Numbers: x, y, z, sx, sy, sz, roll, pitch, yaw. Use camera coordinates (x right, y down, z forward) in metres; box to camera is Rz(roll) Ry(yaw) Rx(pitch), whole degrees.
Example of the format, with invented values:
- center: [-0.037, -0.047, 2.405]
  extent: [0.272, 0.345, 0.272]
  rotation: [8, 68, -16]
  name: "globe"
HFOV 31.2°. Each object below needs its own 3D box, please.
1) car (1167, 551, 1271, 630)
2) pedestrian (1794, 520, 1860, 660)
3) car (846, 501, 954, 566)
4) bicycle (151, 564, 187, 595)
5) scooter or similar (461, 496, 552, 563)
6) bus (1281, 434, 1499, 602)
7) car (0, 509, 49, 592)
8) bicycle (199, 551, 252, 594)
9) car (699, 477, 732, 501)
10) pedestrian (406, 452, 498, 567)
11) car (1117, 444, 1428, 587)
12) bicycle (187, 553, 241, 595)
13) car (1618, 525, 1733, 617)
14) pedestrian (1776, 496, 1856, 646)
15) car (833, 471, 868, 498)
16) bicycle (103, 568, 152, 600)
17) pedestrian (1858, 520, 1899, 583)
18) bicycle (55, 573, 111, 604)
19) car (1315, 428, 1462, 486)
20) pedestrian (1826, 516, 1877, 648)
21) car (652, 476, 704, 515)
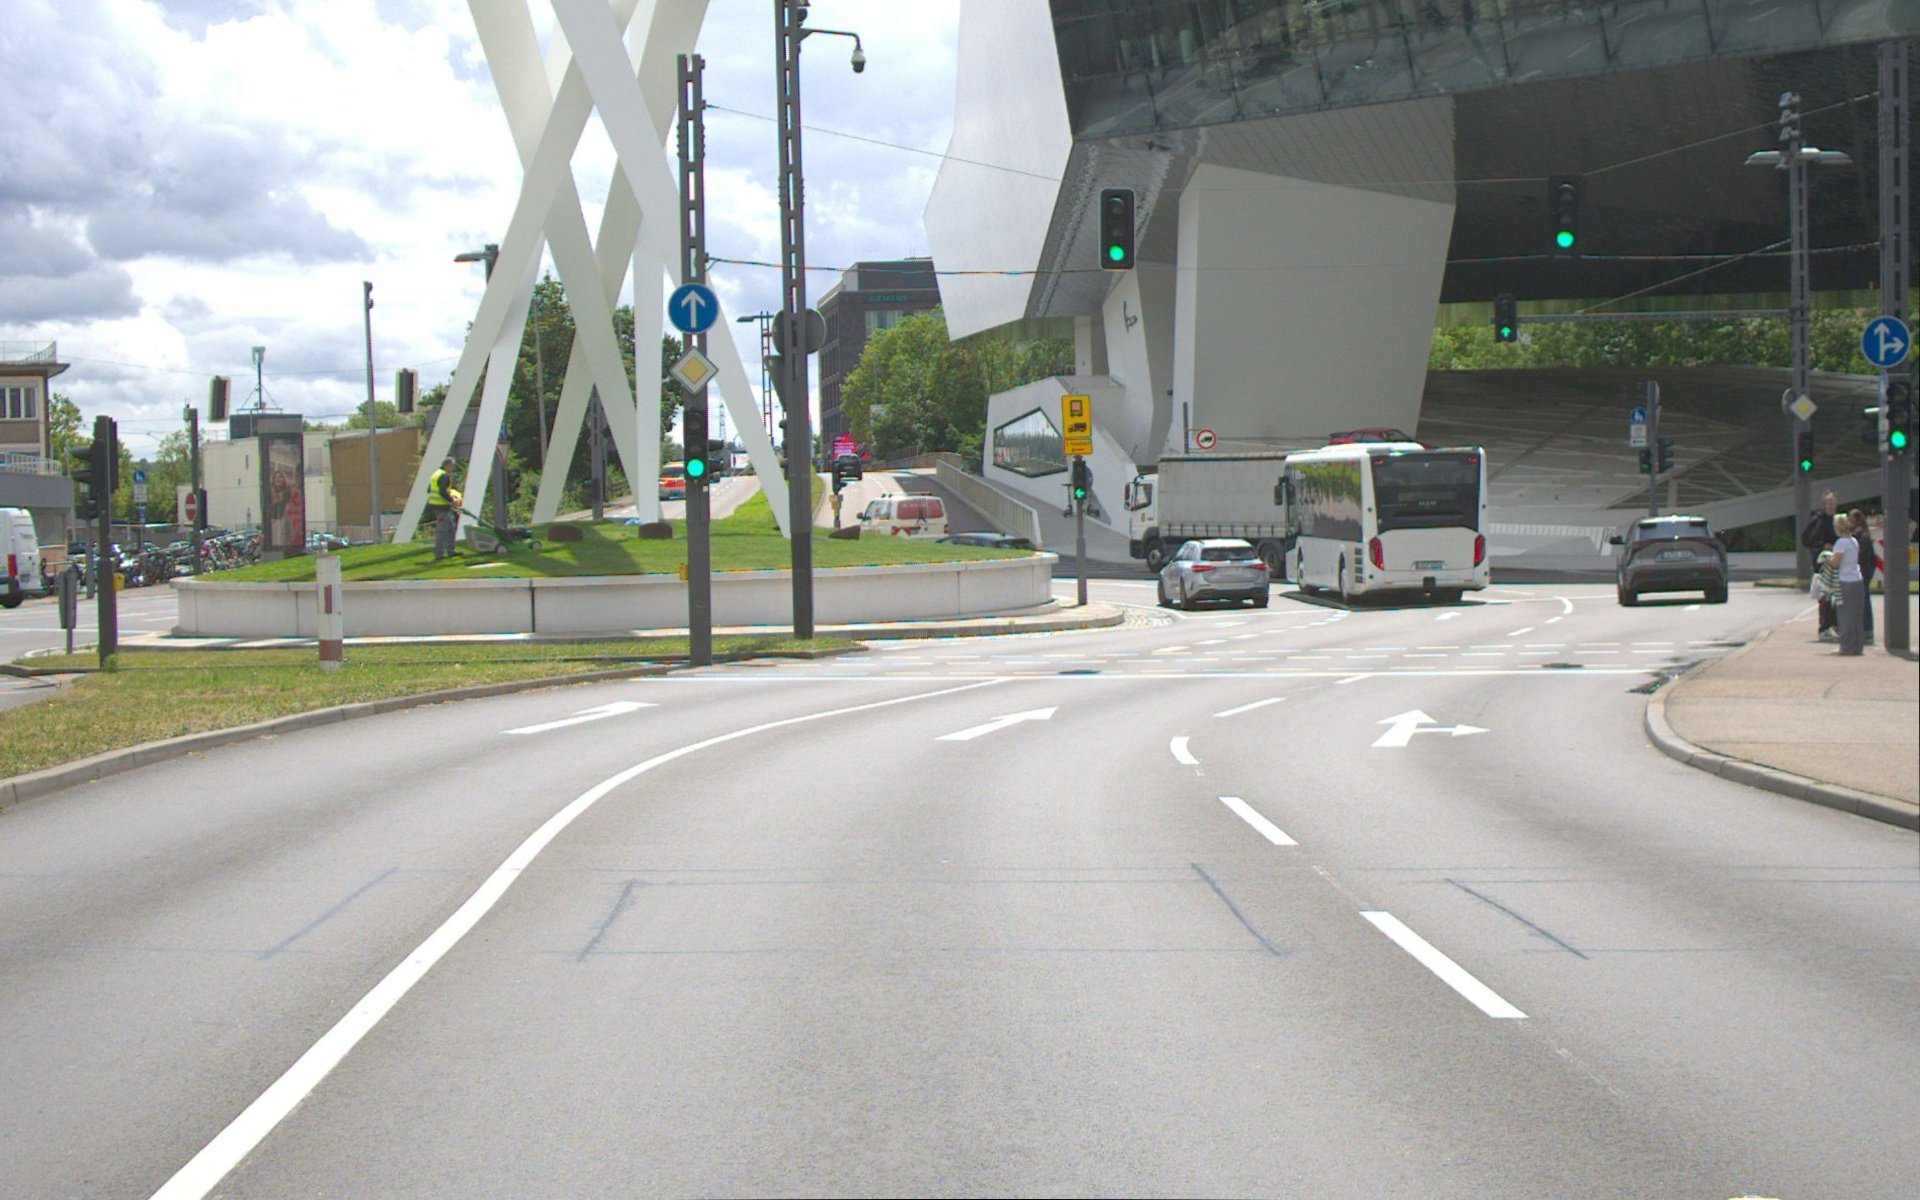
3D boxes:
- center: [5.512, -0.199, 73.560]
  extent: [1.993, 1.631, 4.000]
  rotation: [0, 0, 1]
  name: "car"
- center: [10.000, -0.116, 39.672]
  extent: [0.659, 1.602, 0.822]
  rotation: [0, 0, 9]
  name: "pedestrian"
- center: [-1.849, -2.009, 104.774]
  extent: [1.993, 1.897, 4.001]
  rotation: [0, 0, -22]
  name: "car"
- center: [-24.424, -0.628, 106.129]
  extent: [0.491, 0.863, 1.611]
  rotation: [-1, 3, 9]
  name: "bicycle"
- center: [-7.805, -1.217, 59.161]
  extent: [1.400, 1.022, 0.550]
  rotation: [-5, 7, -20]
  name: "scooter or similar"
- center: [9.122, -1.630, 74.564]
  extent: [3.071, 3.351, 12.223]
  rotation: [0, 0, -1]
  name: "bus"
- center: [-26.807, -1.297, 91.253]
  extent: [4.641, 2.163, 1.999]
  rotation: [0, 0, 6]
  name: "car"
- center: [-23.600, -0.893, 110.454]
  extent: [1.605, 1.378, 0.493]
  rotation: [0, 0, -2]
  name: "bicycle"
- center: [-15.103, -6.853, 212.184]
  extent: [1.755, 1.393, 4.675]
  rotation: [0, 3, -1]
  name: "car"
- center: [-8.680, -1.550, 58.710]
  extent: [1.281, 1.810, 0.987]
  rotation: [-5, 6, -18]
  name: "pedestrian"
- center: [8.010, -2.108, 89.707]
  extent: [3.335, 3.492, 9.342]
  rotation: [0, 0, -30]
  name: "car"
- center: [-23.612, -0.820, 108.816]
  extent: [1.605, 1.312, 0.493]
  rotation: [0, 0, -2]
  name: "bicycle"
- center: [13.110, -0.558, 63.162]
  extent: [1.994, 1.631, 3.998]
  rotation: [0, 1, 11]
  name: "car"
- center: [10.721, -0.359, 43.063]
  extent: [0.659, 1.860, 0.793]
  rotation: [0, 0, -16]
  name: "pedestrian"
- center: [-6.545, -6.951, 206.488]
  extent: [1.993, 1.630, 4.656]
  rotation: [0, 2, 0]
  name: "car"
- center: [-25.119, -0.493, 103.772]
  extent: [0.492, 0.863, 1.609]
  rotation: [0, 4, 26]
  name: "bicycle"
- center: [22.200, -1.170, 83.100]
  extent: [0.581, 1.491, 0.771]
  rotation: [0, 0, -34]
  name: "pedestrian"
- center: [-26.063, -0.340, 102.143]
  extent: [0.492, 0.863, 1.607]
  rotation: [0, 3, 39]
  name: "bicycle"
- center: [14.209, -4.766, 114.101]
  extent: [4.510, 1.390, 1.995]
  rotation: [9, 11, 44]
  name: "car"
- center: [10.992, -0.224, 42.411]
  extent: [0.464, 1.610, 0.663]
  rotation: [0, 0, 1]
  name: "pedestrian"
- center: [-15.005, -5.576, 183.189]
  extent: [1.994, 1.976, 4.837]
  rotation: [-2, 2, 4]
  name: "car"
